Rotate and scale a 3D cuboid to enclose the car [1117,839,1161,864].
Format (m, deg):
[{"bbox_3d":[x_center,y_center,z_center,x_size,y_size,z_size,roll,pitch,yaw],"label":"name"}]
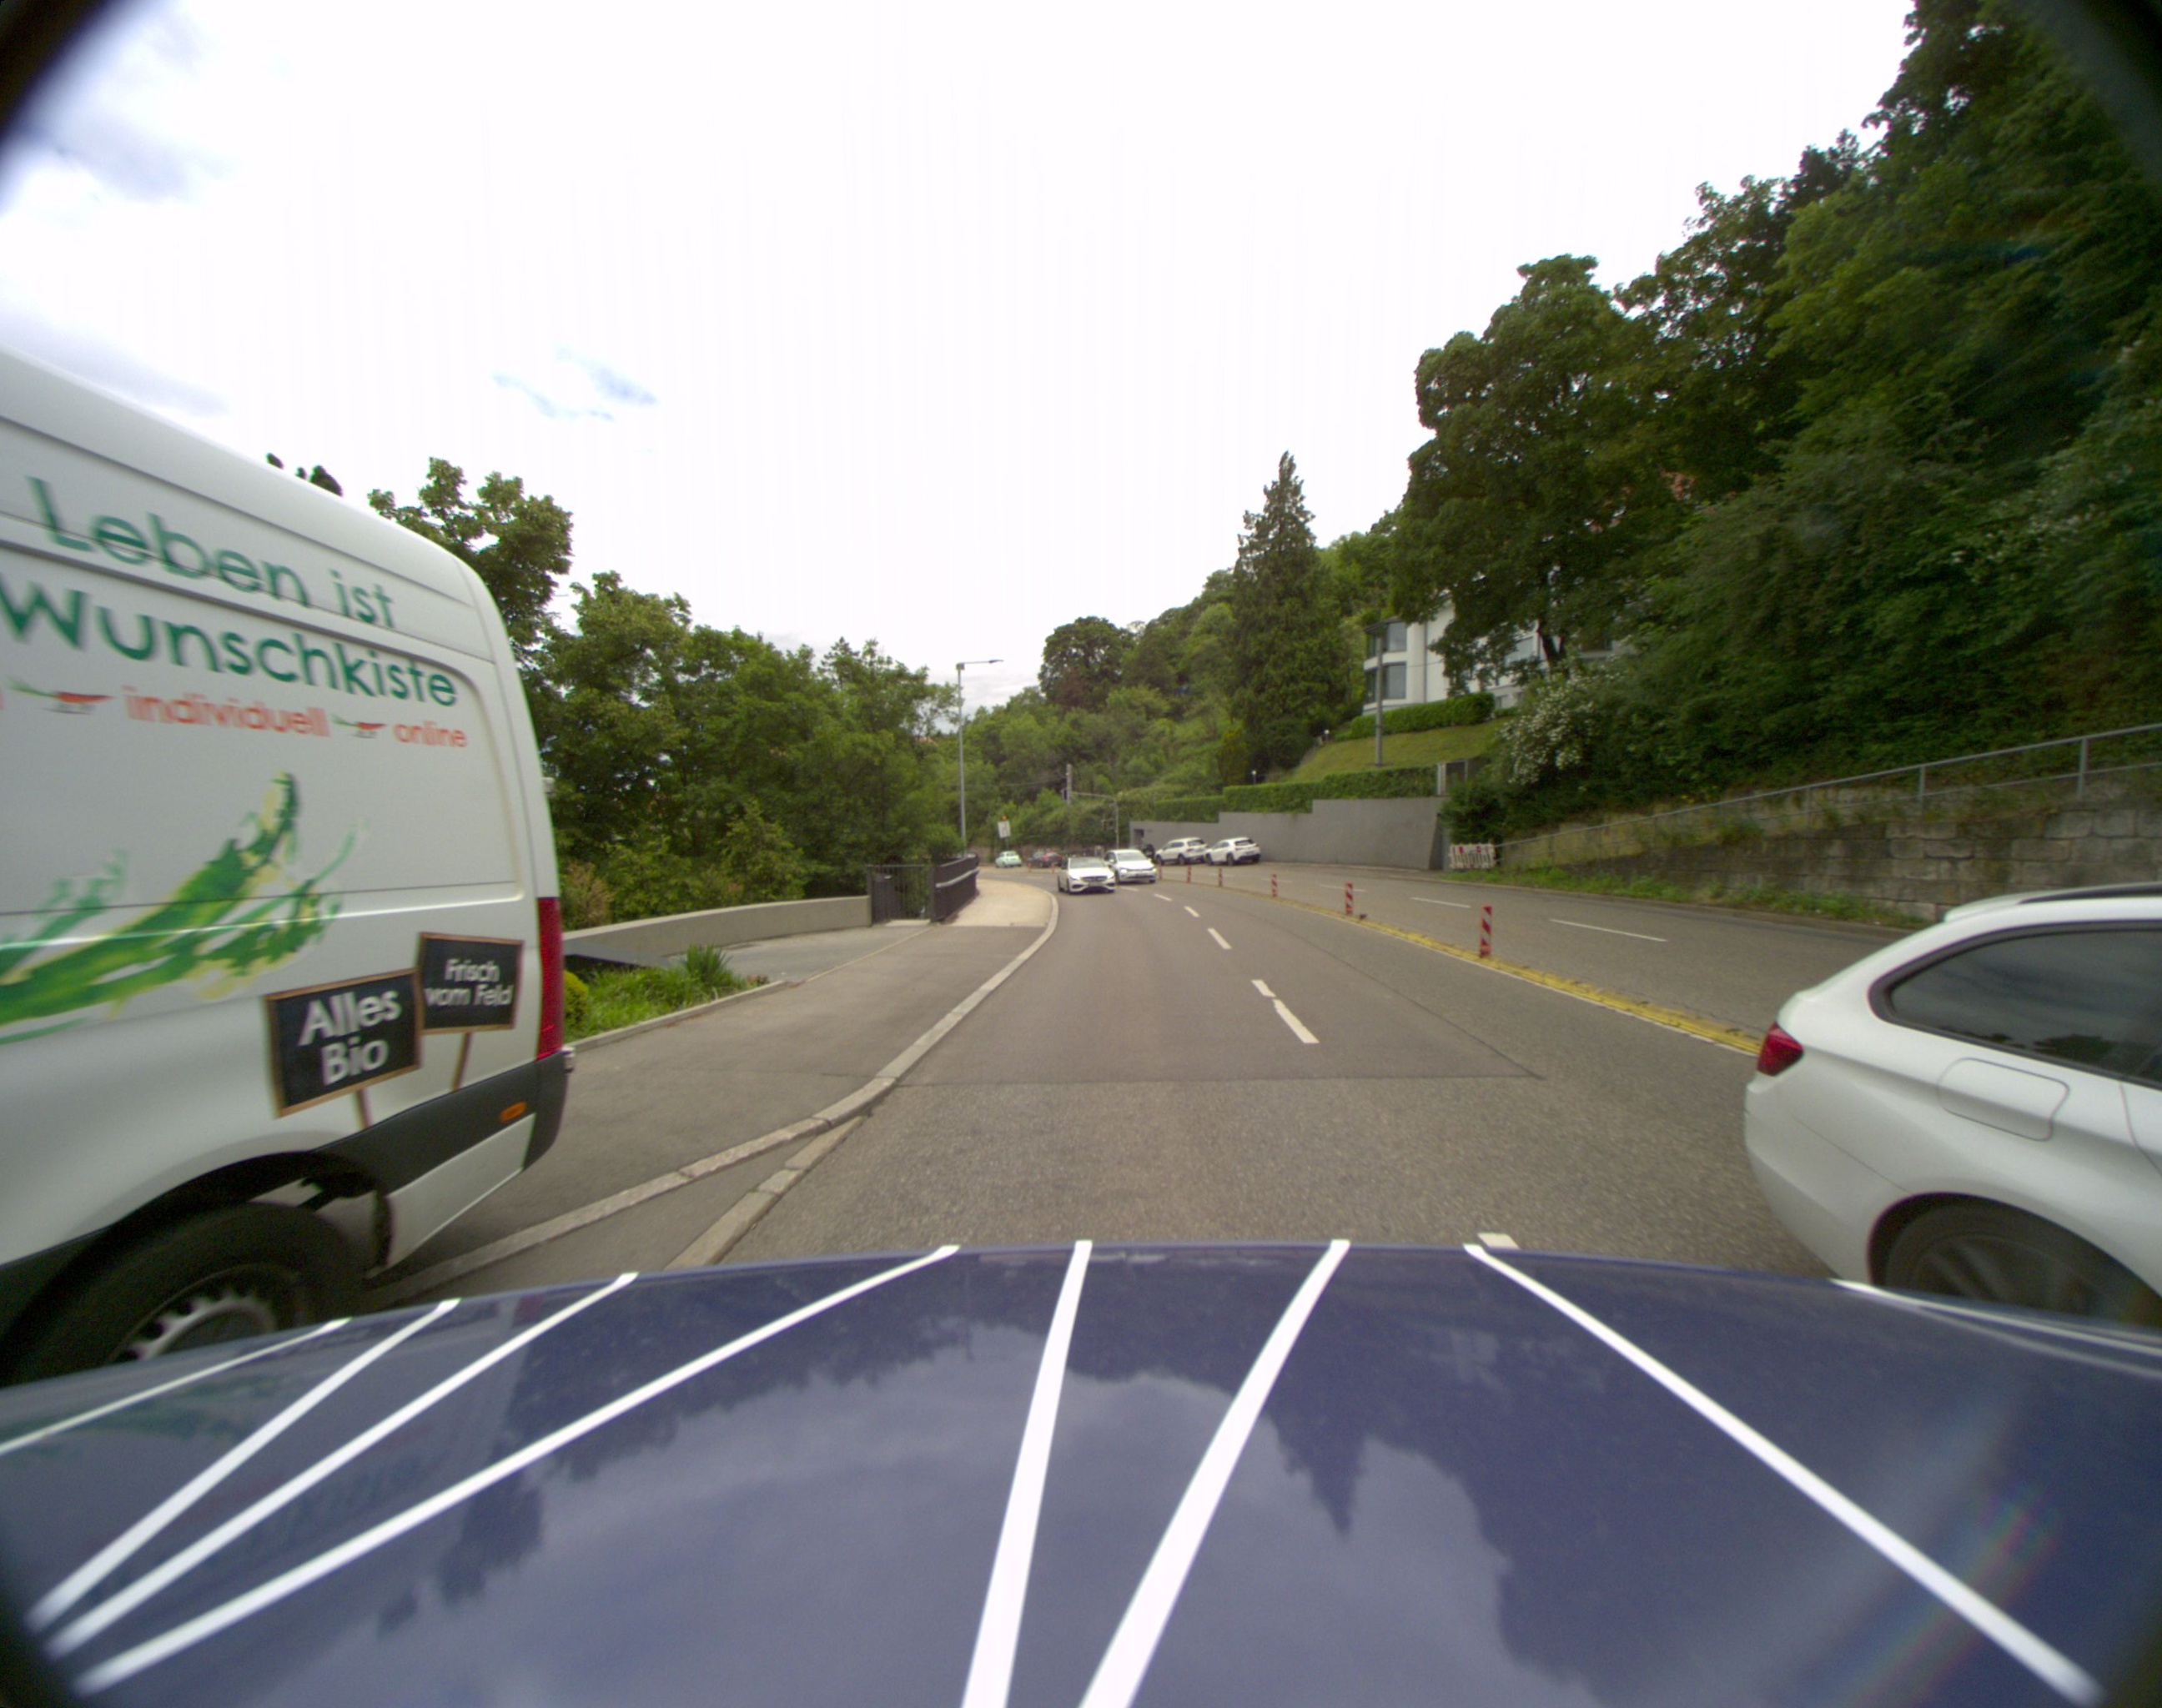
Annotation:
[{"bbox_3d":[4.172,-0.182,54.853,1.718,1.564,2.951,-8,2,-27],"label":"car"}]

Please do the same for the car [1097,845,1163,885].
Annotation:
[{"bbox_3d":[2.209,0.477,35.409,1.887,1.570,3.994,-5,2,-13],"label":"car"}]

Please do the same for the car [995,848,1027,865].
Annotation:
[{"bbox_3d":[-6.494,0.223,70.593,1.718,1.458,3.653,-5,2,-25],"label":"car"}]

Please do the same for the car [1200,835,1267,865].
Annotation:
[{"bbox_3d":[8.986,-0.272,45.274,1.840,1.564,4.467,-5,3,-19],"label":"car"}]

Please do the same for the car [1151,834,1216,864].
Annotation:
[{"bbox_3d":[6.751,-0.340,50.567,1.867,1.722,4.751,-6,3,-26],"label":"car"}]

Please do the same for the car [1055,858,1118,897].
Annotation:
[{"bbox_3d":[0.133,0.869,30.174,1.799,1.299,4.097,-3,1,-9],"label":"car"}]

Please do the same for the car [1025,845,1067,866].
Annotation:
[{"bbox_3d":[-2.983,0.086,63.626,1.719,1.589,4.196,-5,2,-30],"label":"car"}]

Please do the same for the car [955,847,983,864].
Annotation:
[{"bbox_3d":[-12.020,0.149,81.292,1.891,1.687,4.662,-4,2,-22],"label":"car"}]
